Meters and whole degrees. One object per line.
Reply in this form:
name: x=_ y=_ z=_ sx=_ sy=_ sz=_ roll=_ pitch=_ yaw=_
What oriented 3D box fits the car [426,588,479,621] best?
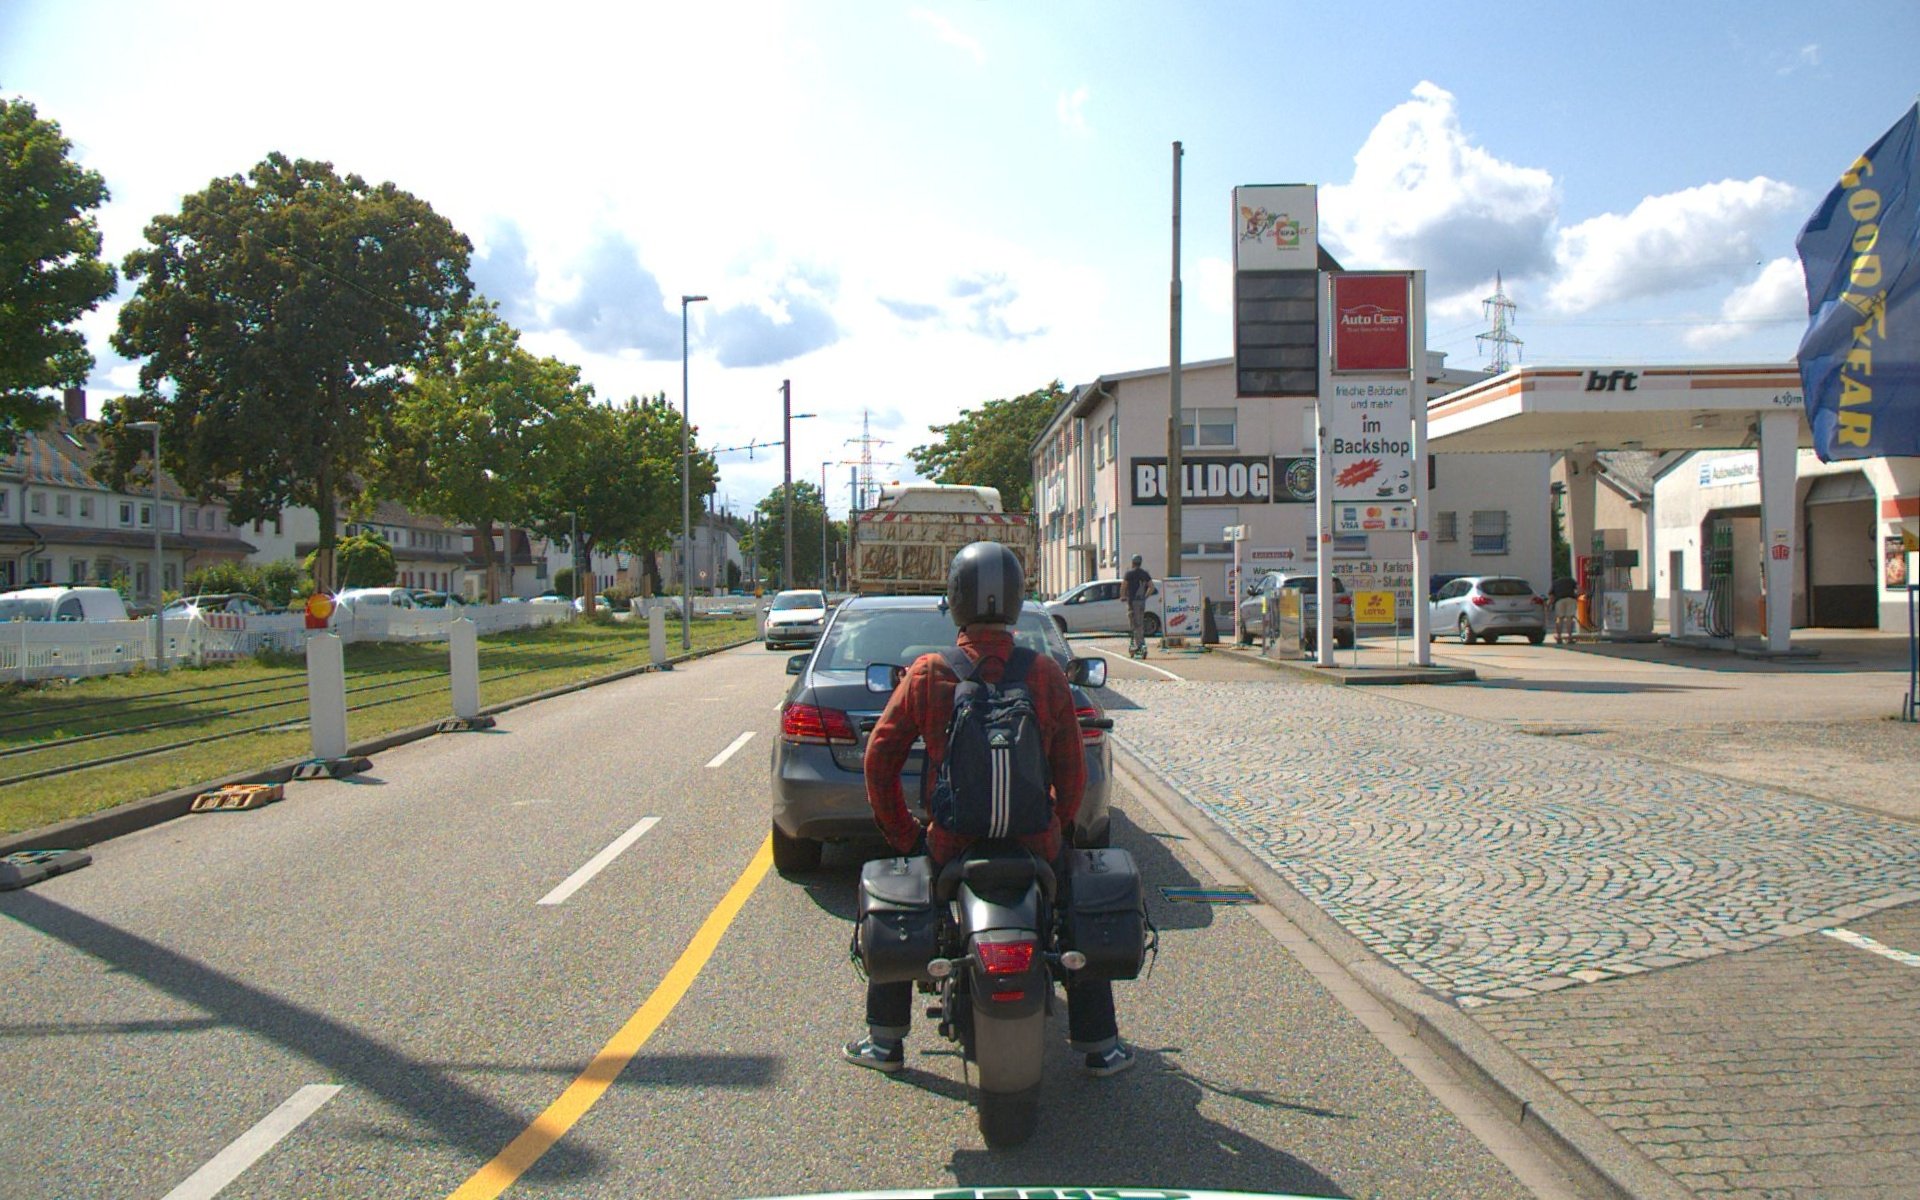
car: x=-28.185 y=0.243 z=91.925 sx=1.664 sy=1.770 sz=4.061 roll=-1 pitch=0 yaw=-1

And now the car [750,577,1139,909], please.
car: x=-0.132 y=0.648 z=9.745 sx=1.795 sy=1.505 sz=4.008 roll=-1 pitch=0 yaw=-2

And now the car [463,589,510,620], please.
car: x=-28.066 y=0.258 z=98.135 sx=1.664 sy=1.770 sz=4.061 roll=-1 pitch=0 yaw=-1

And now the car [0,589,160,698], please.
car: x=-16.417 y=0.743 z=30.285 sx=1.664 sy=1.849 sz=3.860 roll=-1 pitch=0 yaw=-1

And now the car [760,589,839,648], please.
car: x=-4.129 y=0.442 z=43.137 sx=1.680 sy=1.438 sz=4.261 roll=-1 pitch=0 yaw=-1

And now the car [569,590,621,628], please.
car: x=-17.493 y=0.407 z=79.383 sx=1.664 sy=1.770 sz=3.860 roll=-1 pitch=0 yaw=-1

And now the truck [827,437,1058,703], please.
truck: x=-0.355 y=-0.421 z=25.461 sx=2.910 sy=3.362 sz=8.404 roll=-1 pitch=0 yaw=-2

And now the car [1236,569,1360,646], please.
car: x=7.426 y=0.143 z=36.748 sx=1.795 sy=1.562 sz=4.008 roll=-1 pitch=0 yaw=-2

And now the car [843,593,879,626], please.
car: x=-5.105 y=0.465 z=85.729 sx=1.646 sy=1.652 sz=4.118 roll=-1 pitch=0 yaw=-1

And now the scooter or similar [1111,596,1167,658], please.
scooter or similar: x=3.482 y=0.517 z=32.280 sx=0.780 sy=1.165 sz=1.517 roll=-1 pitch=0 yaw=-6

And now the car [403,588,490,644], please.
car: x=-17.020 y=0.496 z=54.972 sx=1.664 sy=1.770 sz=3.860 roll=-1 pitch=0 yaw=-1

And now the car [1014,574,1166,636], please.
car: x=3.670 y=0.119 z=47.076 sx=4.029 sy=1.652 sz=1.682 roll=-1 pitch=0 yaw=-9

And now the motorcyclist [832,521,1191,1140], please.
motorcyclist: x=0.131 y=0.618 z=5.068 sx=0.950 sy=1.662 sz=1.214 roll=1 pitch=0 yaw=-1

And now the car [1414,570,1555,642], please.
car: x=11.772 y=0.103 z=37.413 sx=1.795 sy=1.505 sz=4.008 roll=-1 pitch=0 yaw=-2

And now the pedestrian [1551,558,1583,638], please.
pedestrian: x=13.135 y=-0.046 z=35.784 sx=0.621 sy=1.712 sz=0.622 roll=-1 pitch=0 yaw=20

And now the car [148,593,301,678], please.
car: x=-16.672 y=0.757 z=37.708 sx=1.664 sy=1.770 sz=4.053 roll=-1 pitch=0 yaw=-1

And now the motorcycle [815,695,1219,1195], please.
motorcycle: x=0.120 y=0.901 z=5.186 sx=0.956 sy=1.031 sz=2.431 roll=1 pitch=0 yaw=-1

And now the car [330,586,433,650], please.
car: x=-16.955 y=0.493 z=48.605 sx=1.664 sy=1.770 sz=3.860 roll=-1 pitch=0 yaw=-1

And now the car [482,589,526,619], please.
car: x=-28.669 y=0.228 z=104.137 sx=1.664 sy=1.770 sz=4.061 roll=-1 pitch=0 yaw=-1

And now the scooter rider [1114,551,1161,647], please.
scooter rider: x=3.469 y=-0.021 z=32.368 sx=0.780 sy=1.850 sz=0.507 roll=-1 pitch=0 yaw=-7
